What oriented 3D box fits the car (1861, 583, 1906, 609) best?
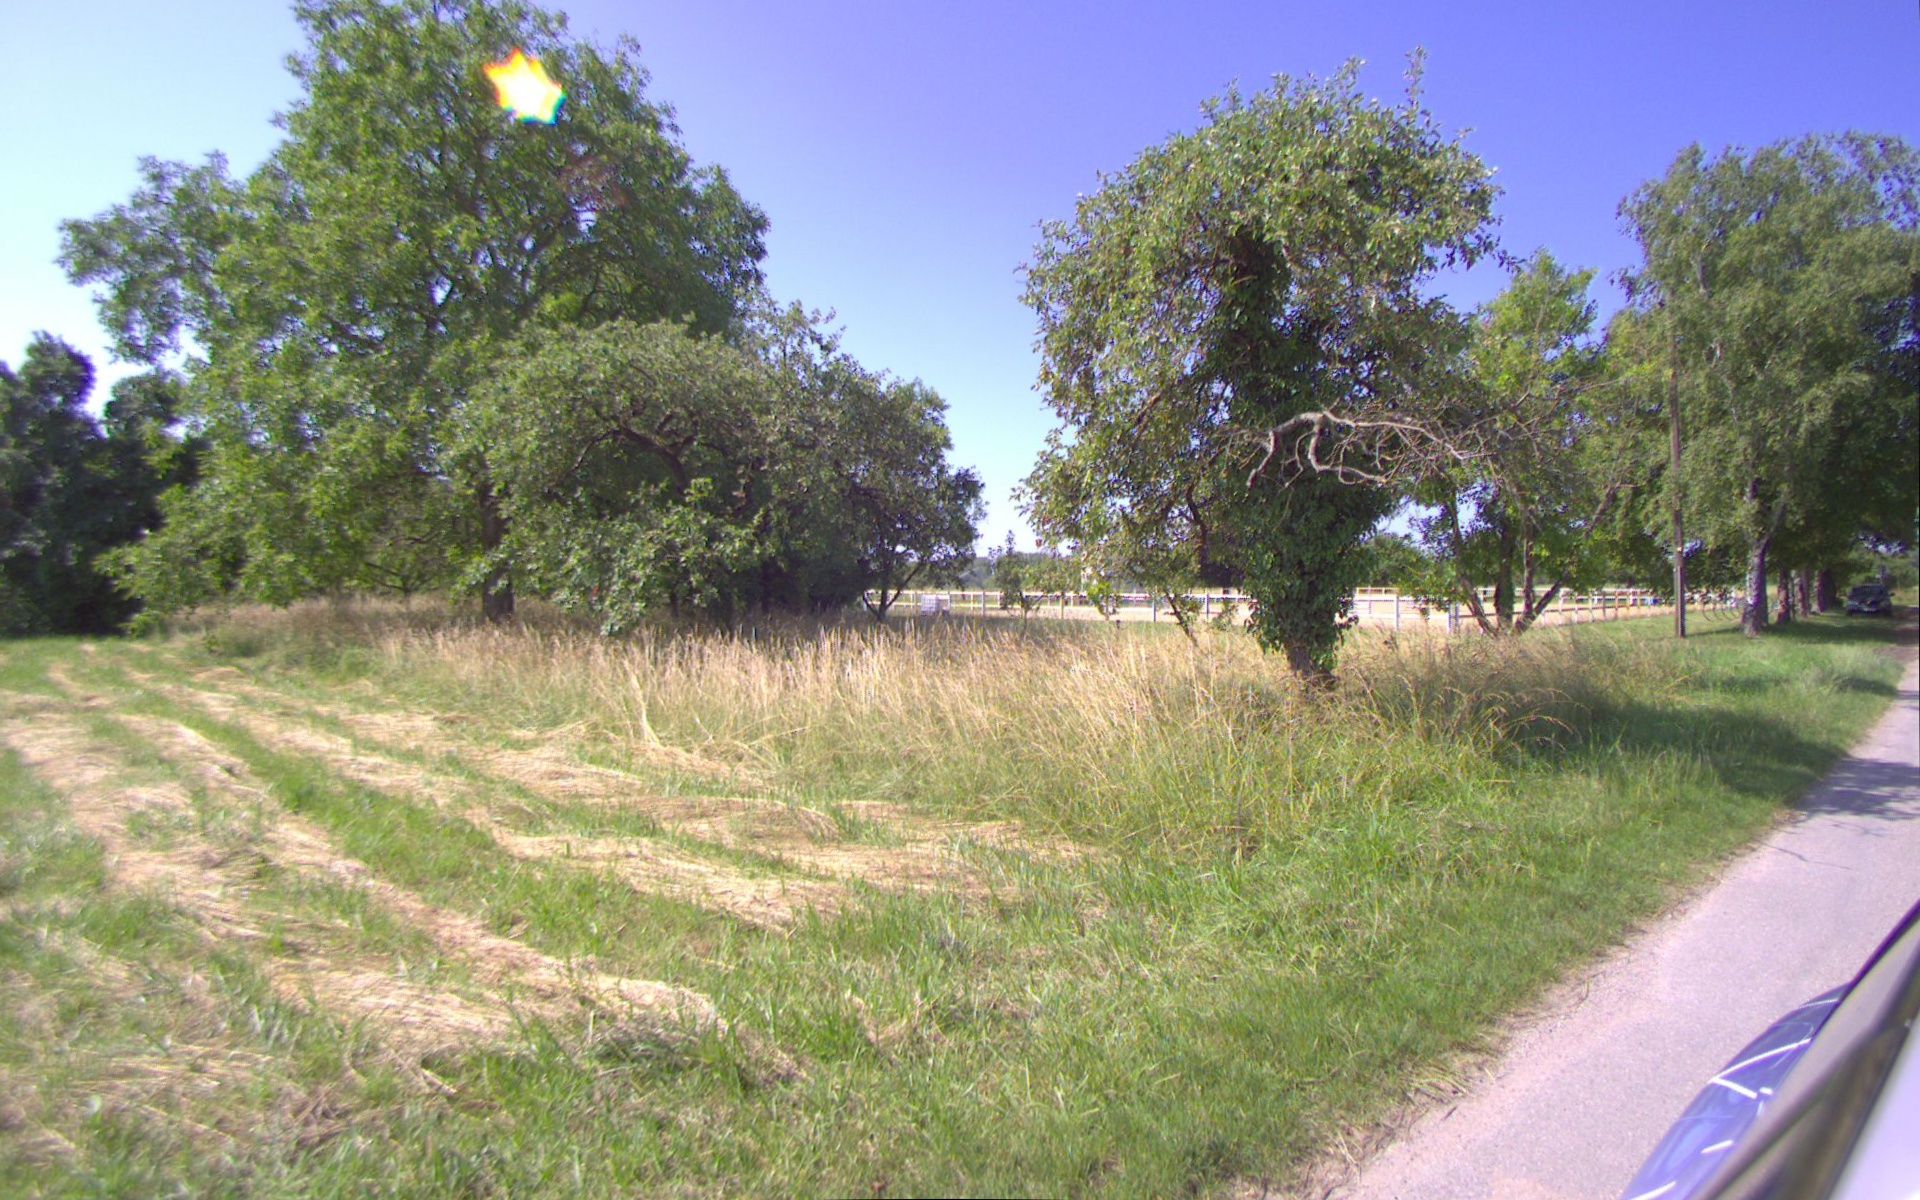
[{"bbox_3d":[48.655,-0.219,53.327,1.716,1.337,3.686,0,1,42],"label":"car"}]
